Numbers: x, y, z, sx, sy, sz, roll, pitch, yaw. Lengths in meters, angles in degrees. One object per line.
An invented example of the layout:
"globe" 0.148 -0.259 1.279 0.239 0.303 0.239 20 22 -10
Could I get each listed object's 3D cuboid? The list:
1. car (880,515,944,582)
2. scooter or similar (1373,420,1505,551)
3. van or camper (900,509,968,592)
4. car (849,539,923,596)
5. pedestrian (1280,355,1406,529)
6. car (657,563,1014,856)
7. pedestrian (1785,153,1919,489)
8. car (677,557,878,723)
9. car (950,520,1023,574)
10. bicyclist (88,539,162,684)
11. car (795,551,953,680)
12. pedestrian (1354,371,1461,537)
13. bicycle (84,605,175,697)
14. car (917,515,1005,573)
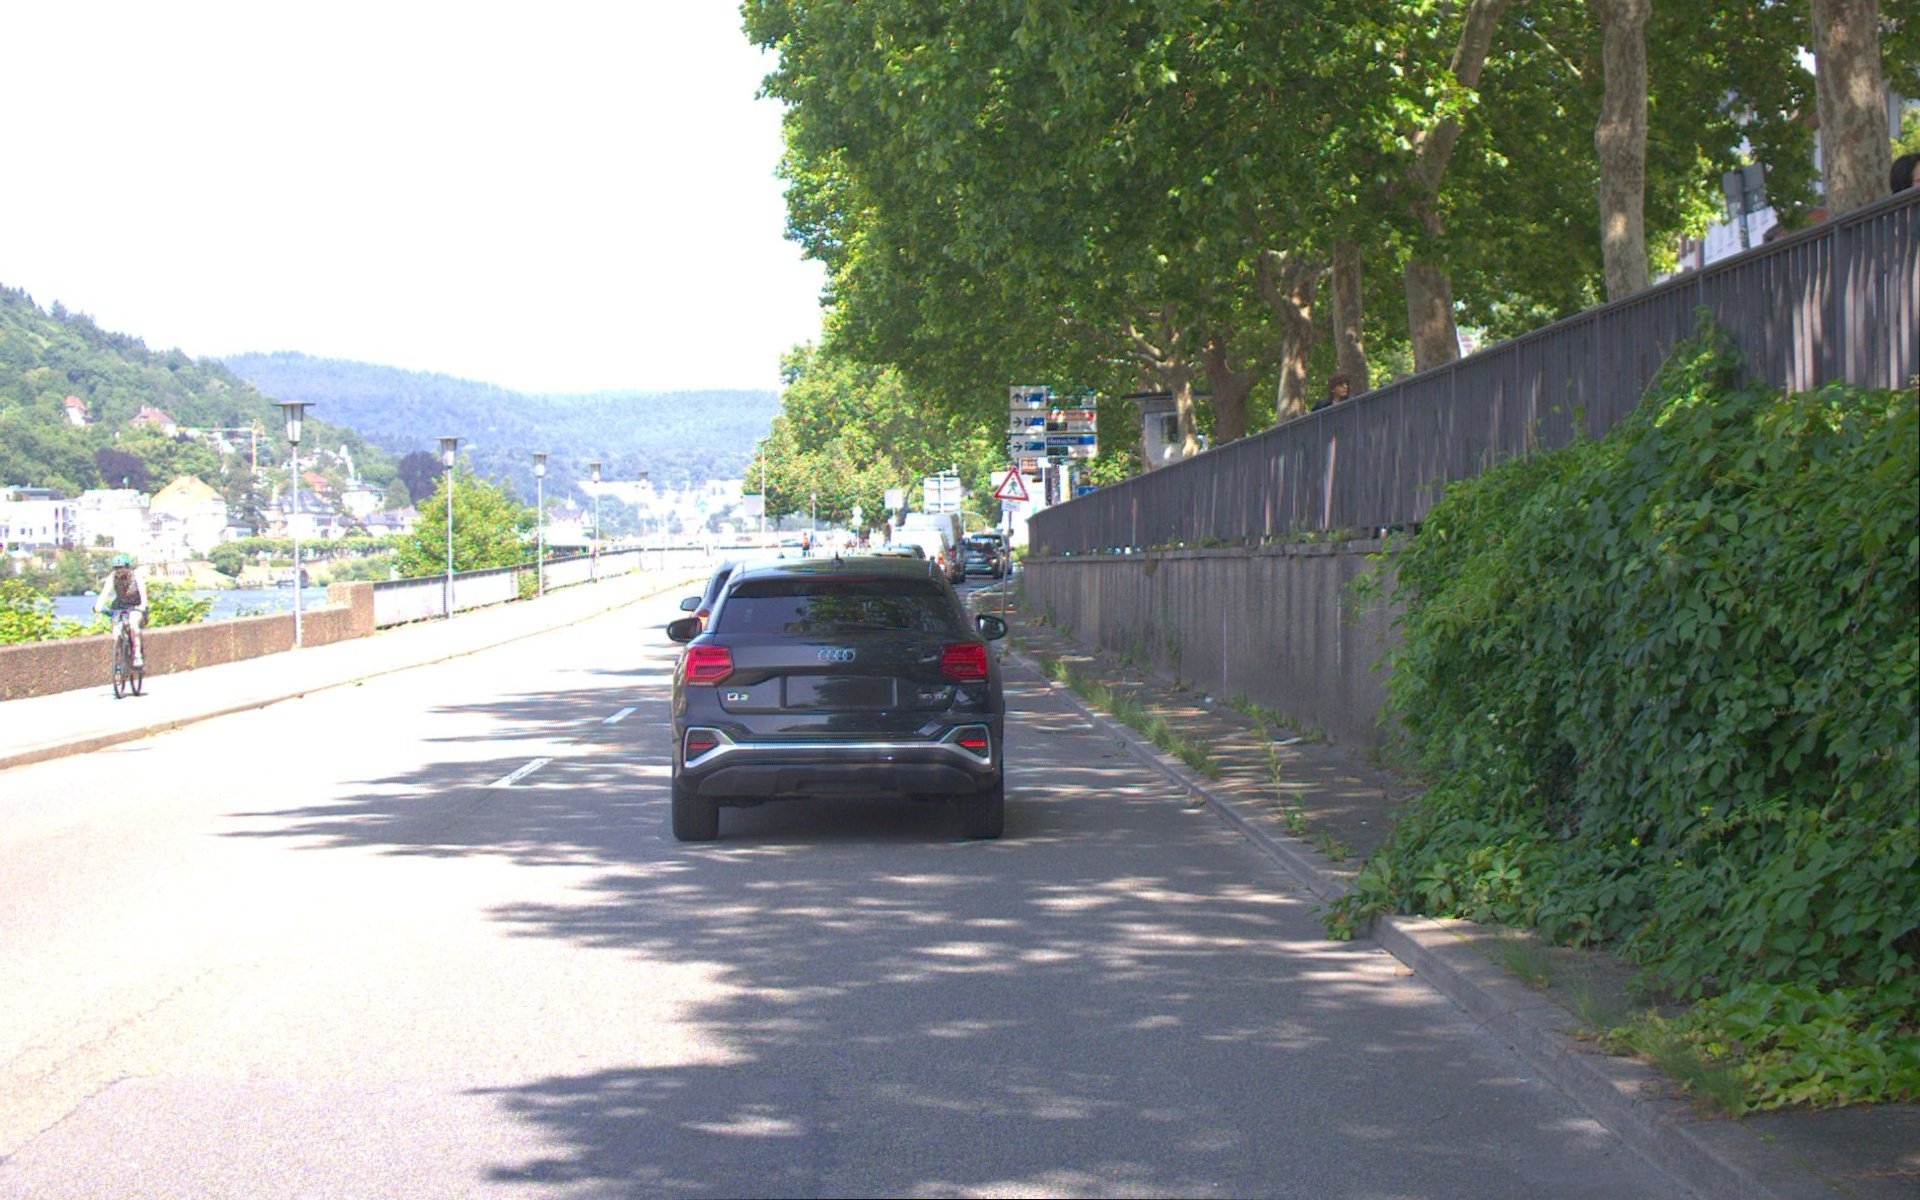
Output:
"car" -1.590 -1.694 112.980 1.993 2.162 4.000 -1 1 -2
"scooter or similar" 3.998 -0.945 28.769 0.855 1.023 1.107 -4 1 -2
"van or camper" -0.910 -1.744 121.945 2.310 2.837 4.246 -2 1 0
"car" -1.921 -0.846 87.899 1.828 1.439 4.000 0 1 -2
"pedestrian" 3.649 -1.498 32.826 0.936 1.574 1.028 -4 1 -3
"car" -0.712 0.540 19.615 1.828 1.481 4.000 0 1 -2
"pedestrian" 4.059 -1.185 14.693 0.753 1.361 0.814 -4 1 -3
"car" -1.734 0.340 33.336 1.828 1.506 4.000 0 1 -2
"car" 1.061 -2.210 143.036 2.661 2.007 5.825 -3 1 -2
"bicyclist" -9.787 0.124 40.304 0.637 1.668 0.871 -2 1 -2
"car" -1.071 0.154 41.862 1.828 1.481 4.000 0 1 -2
"pedestrian" 3.842 -1.248 29.594 0.680 1.361 0.989 -4 1 -2
"bicycle" -9.737 0.582 40.352 0.632 1.008 1.986 -2 1 -2
"car" 0.011 -2.163 133.048 3.098 2.007 5.825 -4 1 -2
